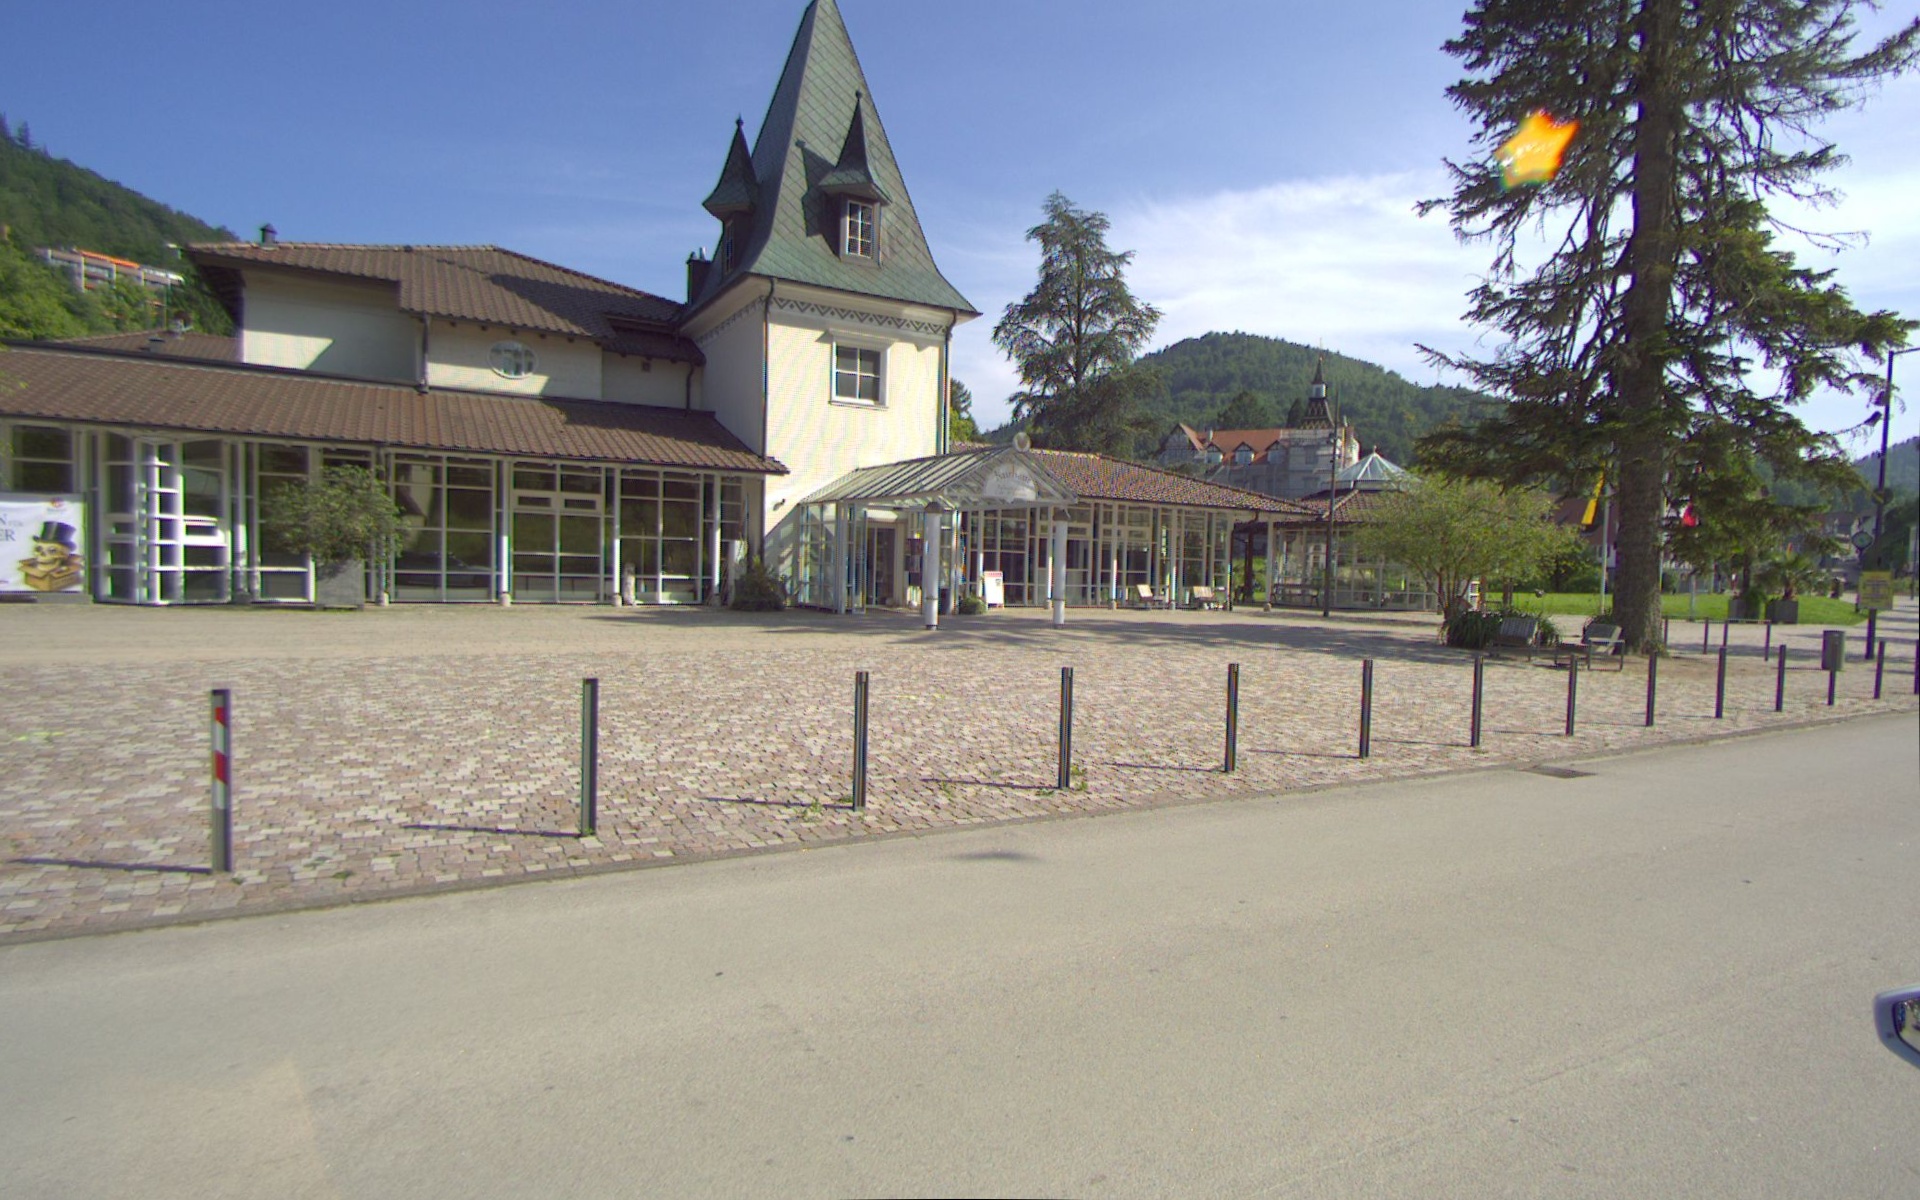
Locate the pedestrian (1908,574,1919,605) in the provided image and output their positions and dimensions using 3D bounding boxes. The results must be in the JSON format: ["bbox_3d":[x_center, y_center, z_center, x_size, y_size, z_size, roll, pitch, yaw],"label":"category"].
[{"bbox_3d":[57.481,-0.603,60.111,0.855,1.839,0.689,3,3,33],"label":"pedestrian"}]
